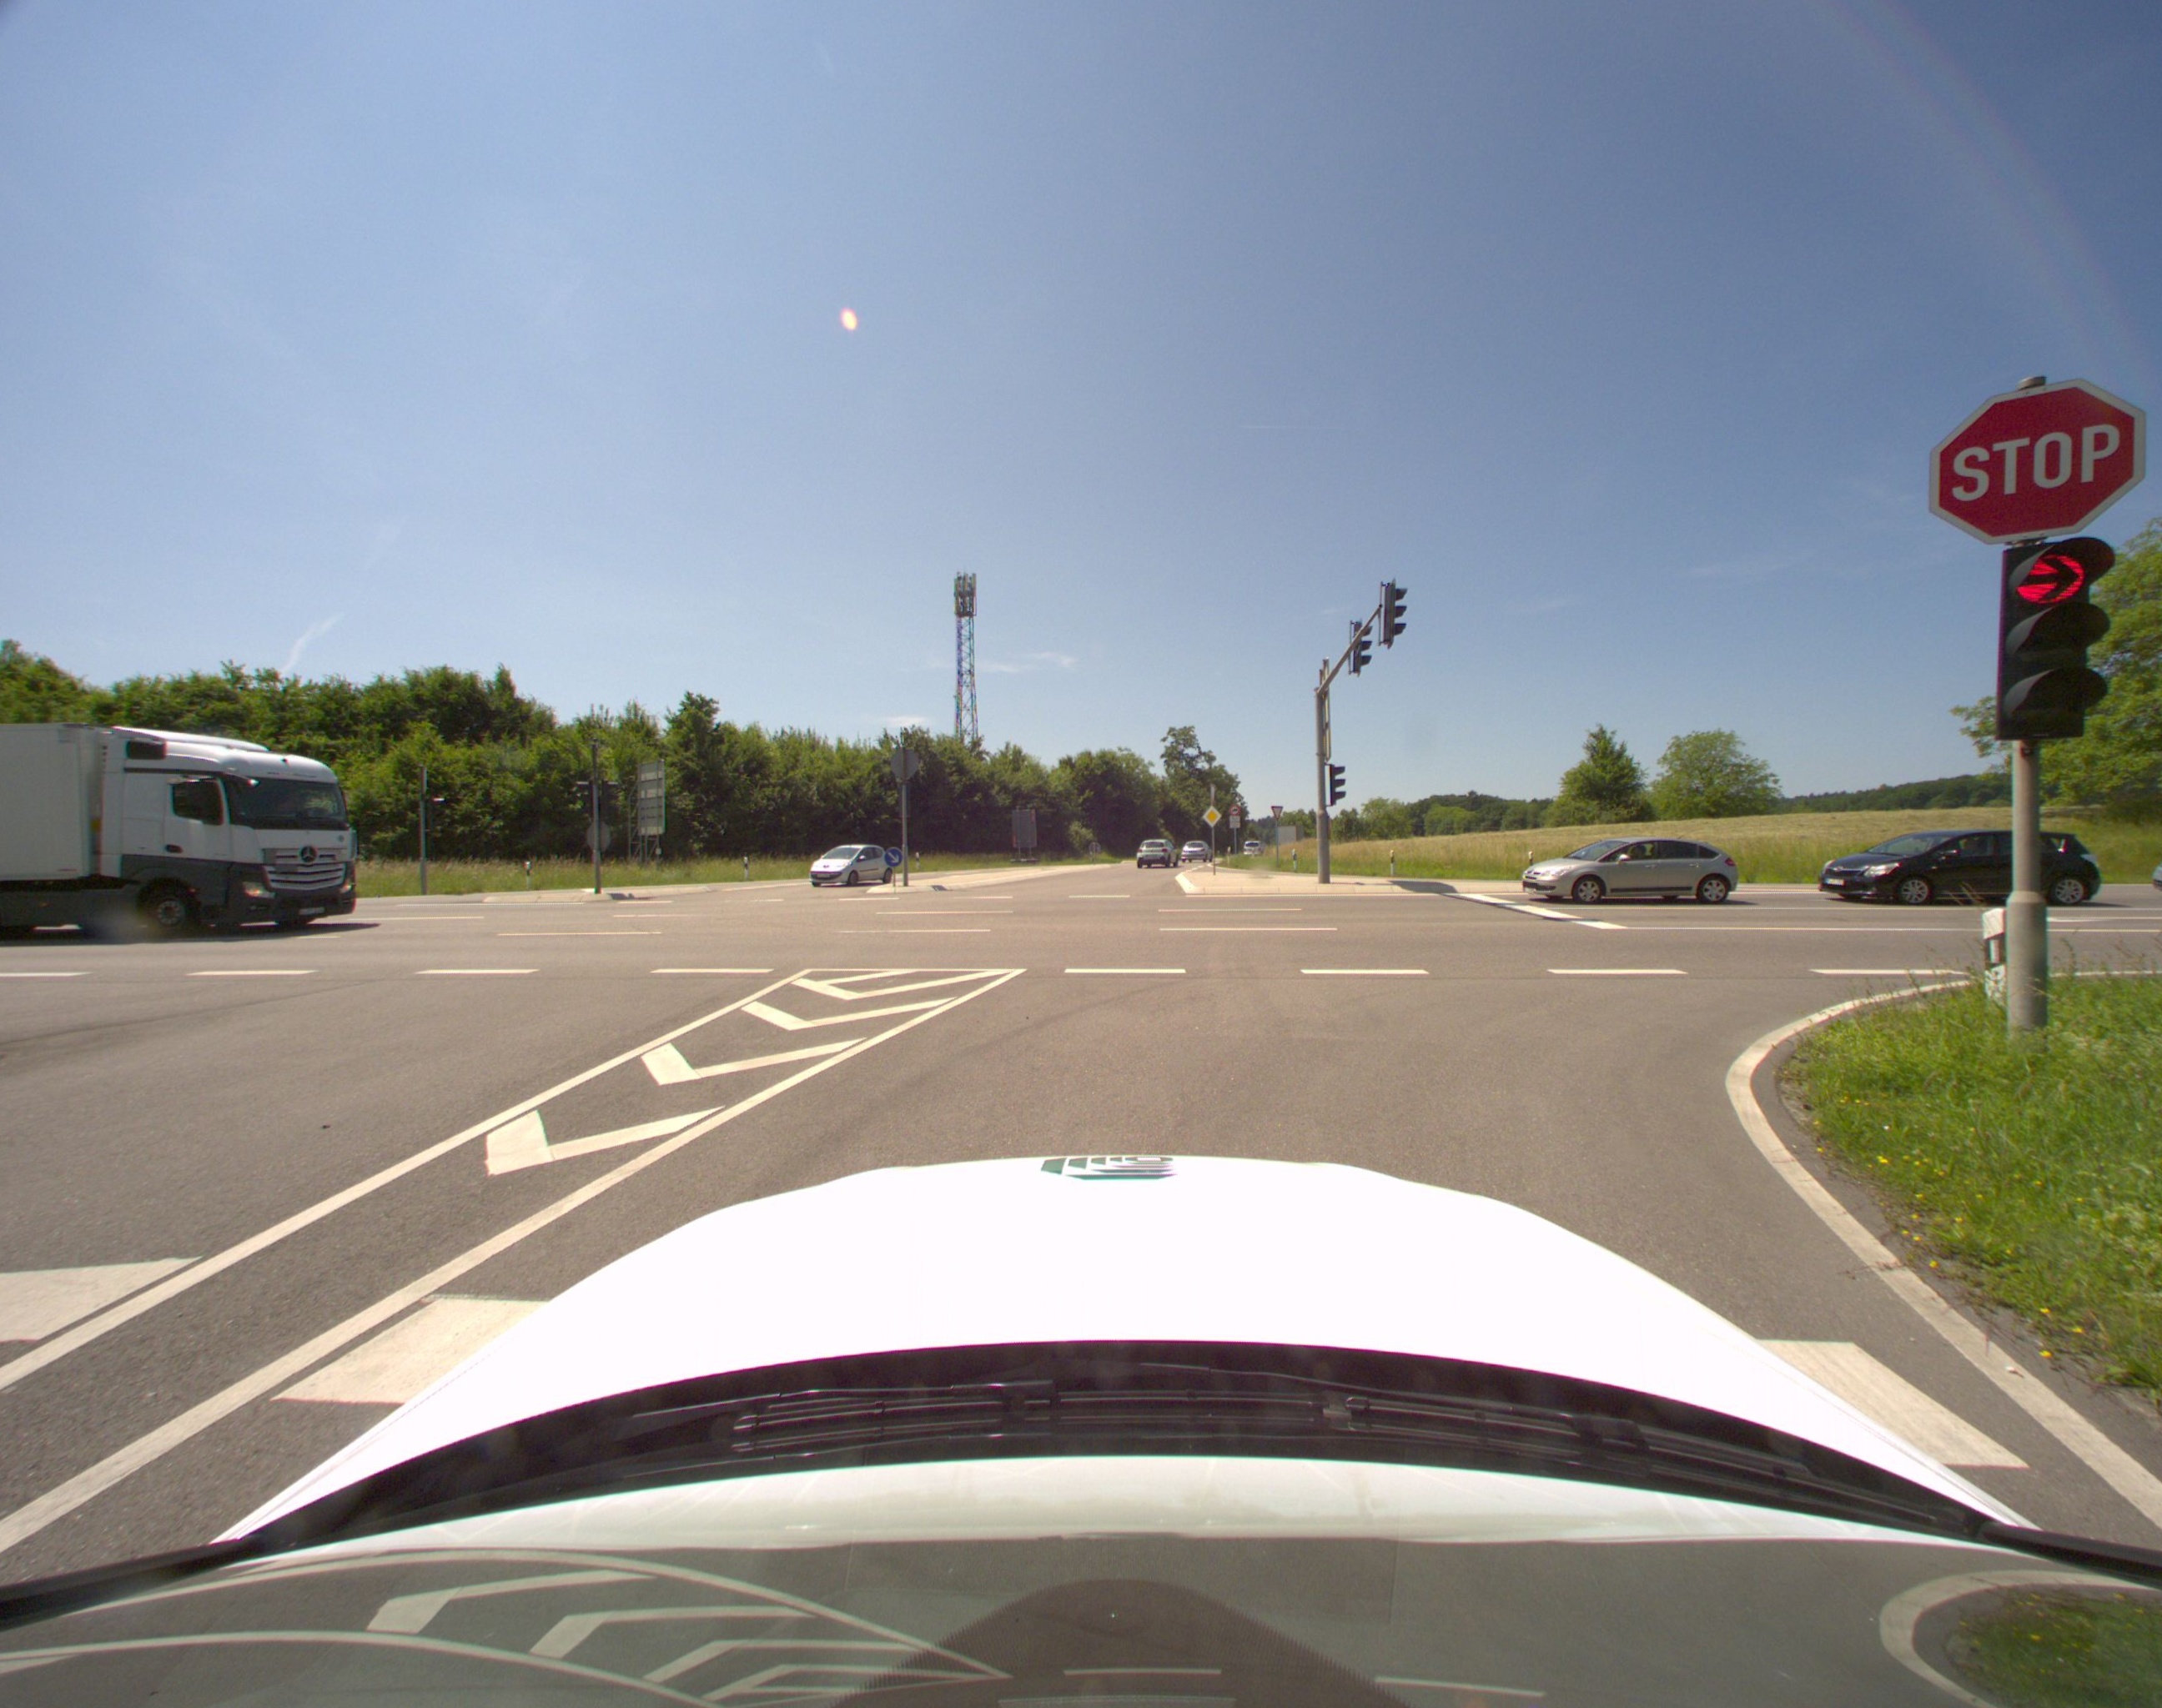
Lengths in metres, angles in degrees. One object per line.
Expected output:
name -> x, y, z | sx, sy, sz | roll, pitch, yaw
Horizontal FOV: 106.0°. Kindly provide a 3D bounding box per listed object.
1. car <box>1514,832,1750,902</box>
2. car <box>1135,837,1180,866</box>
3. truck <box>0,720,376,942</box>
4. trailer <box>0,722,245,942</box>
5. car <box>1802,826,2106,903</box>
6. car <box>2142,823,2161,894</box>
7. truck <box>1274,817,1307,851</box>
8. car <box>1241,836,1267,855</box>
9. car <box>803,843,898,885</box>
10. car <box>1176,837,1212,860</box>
car -> 12.394, 0.269, 18.543 | 4.135, 1.469, 1.733 | 0, 2, 6
car -> 4.128, -0.156, 43.537 | 1.716, 1.404, 4.003 | 0, 2, 15
truck -> -18.585, -0.451, 16.401 | 6.242, 4.036, 2.660 | -1, 1, -1
trailer -> -25.160, -0.334, 16.270 | 13.751, 4.036, 2.660 | -1, 1, -1
car -> 18.691, 0.193, 17.648 | 4.342, 1.553, 1.734 | 0, 2, 9
car -> 25.867, 0.111, 17.307 | 3.984, 1.553, 1.660 | 0, 2, 9
truck -> 28.536, -2.657, 110.333 | 3.100, 4.172, 16.766 | -1, 1, 18
car -> 16.498, -0.815, 77.452 | 1.797, 1.624, 4.081 | -1, 2, 20
car -> -8.244, 0.325, 29.446 | 1.552, 1.370, 3.548 | -1, 2, 18
car -> 7.673, -0.392, 55.070 | 1.798, 1.413, 3.801 | -1, 2, 17
